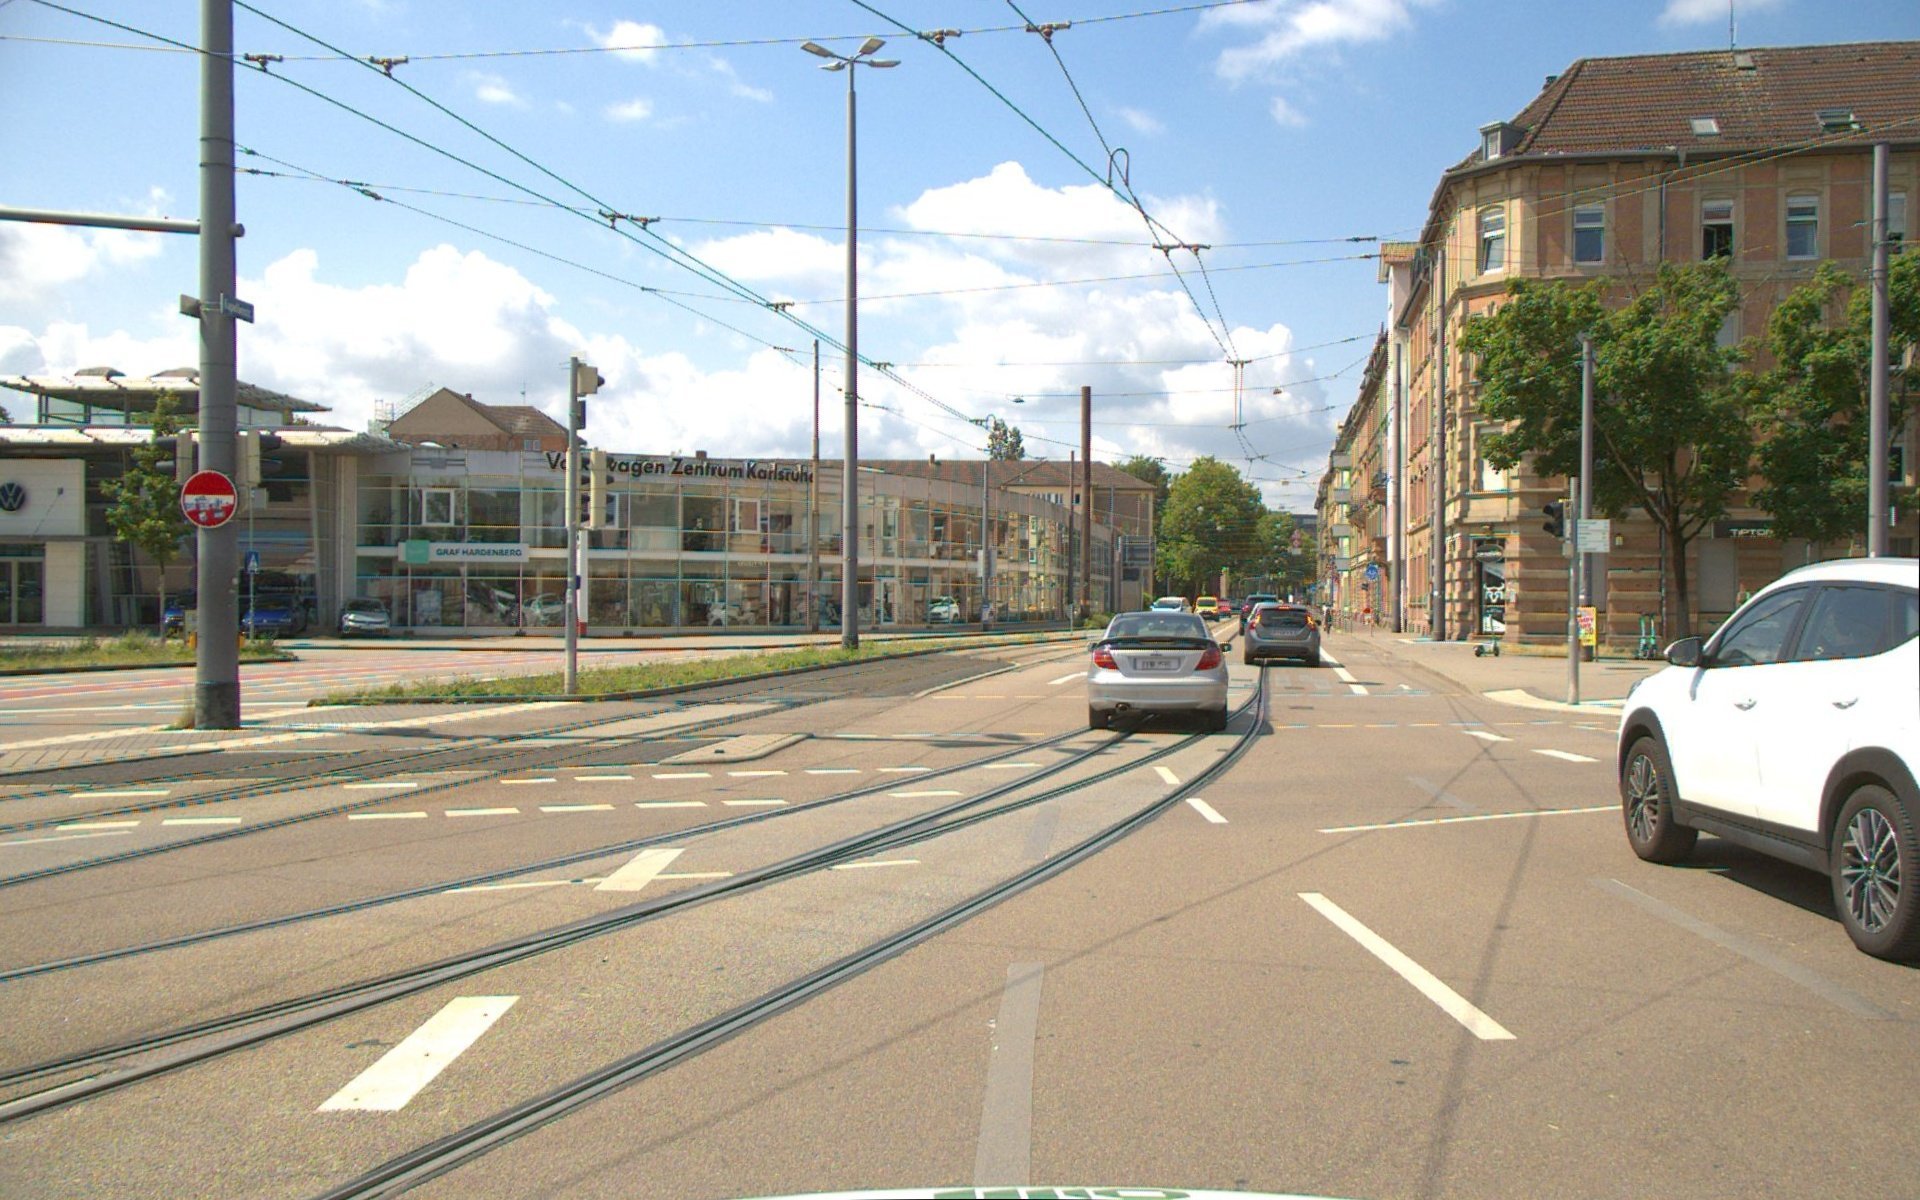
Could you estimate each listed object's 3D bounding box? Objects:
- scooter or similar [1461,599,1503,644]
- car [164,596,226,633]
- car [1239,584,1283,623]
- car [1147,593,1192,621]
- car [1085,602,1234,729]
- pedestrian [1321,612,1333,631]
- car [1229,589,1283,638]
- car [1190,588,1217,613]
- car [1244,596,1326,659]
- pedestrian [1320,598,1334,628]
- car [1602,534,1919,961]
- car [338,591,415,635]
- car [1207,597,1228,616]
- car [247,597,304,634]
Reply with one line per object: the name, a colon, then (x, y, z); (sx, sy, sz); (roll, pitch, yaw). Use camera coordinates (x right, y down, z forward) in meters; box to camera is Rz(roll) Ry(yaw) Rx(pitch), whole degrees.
scooter or similar: (14.240, 0.599, 45.116); (1.509, 1.194, 0.377); (2, -2, -43)
car: (-28.084, 0.540, 60.807); (1.623, 1.272, 3.978); (1, -1, -19)
car: (13.328, 0.151, 73.259); (1.841, 1.670, 3.960); (0, 0, 10)
car: (11.393, 0.356, 89.843); (1.841, 1.444, 3.960); (0, 0, 16)
car: (2.605, 0.748, 21.159); (1.704, 1.416, 4.183); (0, 0, 9)
pedestrian: (18.242, 1.096, 82.214); (0.513, 0.922, 1.562); (1, -1, 9)
car: (10.663, 0.454, 59.621); (1.841, 1.670, 3.960); (0, 0, 10)
car: (17.659, 0.010, 119.758); (1.841, 1.722, 3.960); (0, 0, 10)
car: (7.920, 0.638, 40.551); (1.841, 1.444, 3.960); (0, 0, 9)
pedestrian: (18.281, 0.632, 82.394); (0.677, 1.483, 0.680); (1, -1, 10)
car: (4.750, 0.571, 7.969); (1.842, 1.670, 4.234); (0, 0, 3)
car: (-22.130, 0.510, 62.861); (1.956, 1.601, 3.993); (1, -1, -8)
car: (23.884, 0.560, 153.431); (1.841, 1.722, 3.960); (0, 0, 10)
car: (-25.049, 0.578, 60.623); (1.623, 1.272, 3.978); (1, -1, -19)
